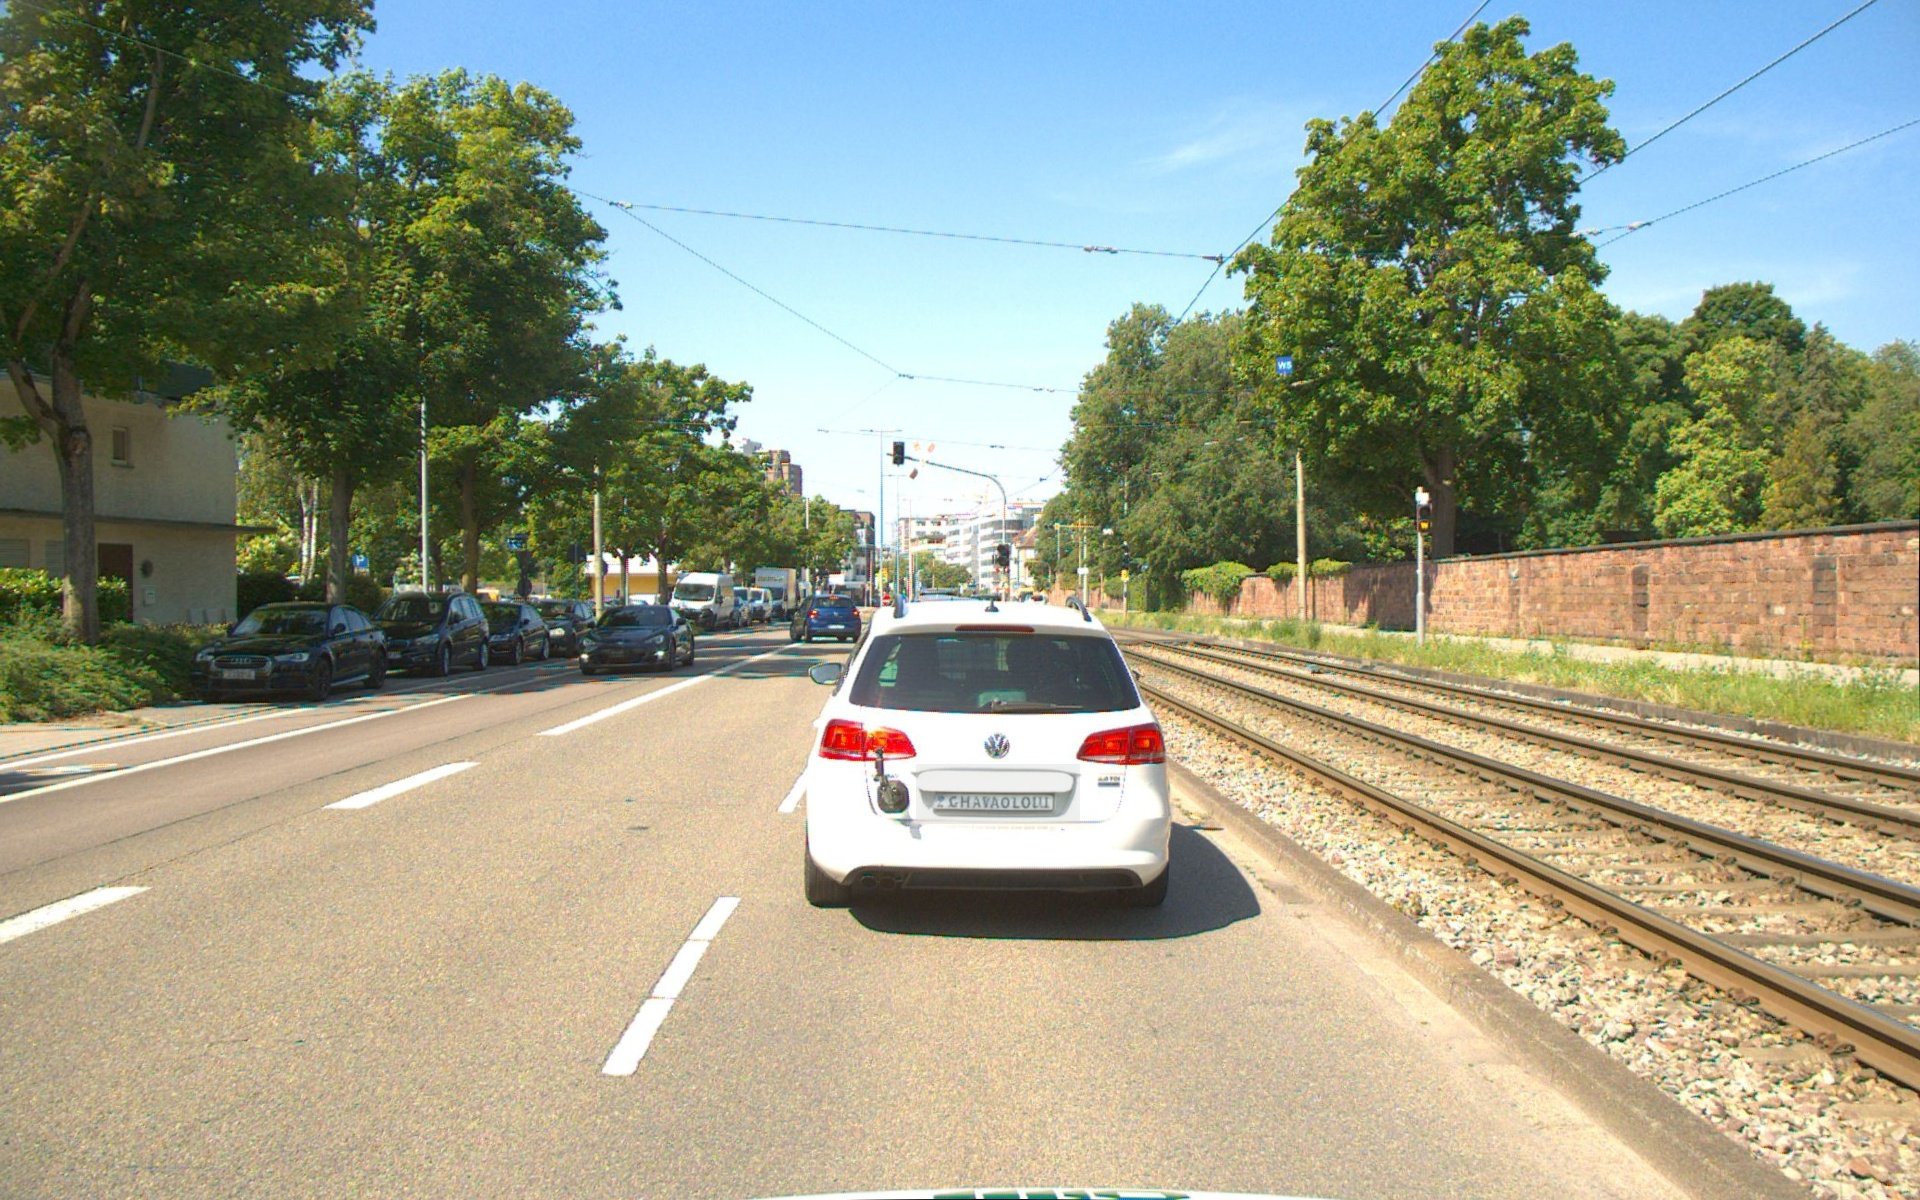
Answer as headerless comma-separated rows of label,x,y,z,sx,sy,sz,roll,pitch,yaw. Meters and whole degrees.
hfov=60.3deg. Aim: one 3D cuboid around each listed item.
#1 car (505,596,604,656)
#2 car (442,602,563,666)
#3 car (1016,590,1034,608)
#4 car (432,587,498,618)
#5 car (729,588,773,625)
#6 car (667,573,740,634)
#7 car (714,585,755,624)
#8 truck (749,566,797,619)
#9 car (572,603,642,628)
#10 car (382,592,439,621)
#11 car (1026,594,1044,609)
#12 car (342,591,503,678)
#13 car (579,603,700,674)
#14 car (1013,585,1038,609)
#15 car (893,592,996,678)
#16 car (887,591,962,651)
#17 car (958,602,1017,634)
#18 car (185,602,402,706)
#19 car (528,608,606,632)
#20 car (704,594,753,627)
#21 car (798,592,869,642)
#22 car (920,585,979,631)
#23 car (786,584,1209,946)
car,-10.766,0.667,44.200,1.608,1.476,4.004,1,0,0
car,-10.875,0.778,39.647,1.656,1.404,4.781,-1,0,-1
car,6.960,-0.055,176.577,1.657,1.844,3.453,1,-1,-1
car,-35.313,0.175,118.100,4.175,2.049,1.997,2,-1,-7
car,-11.763,0.338,93.346,1.806,1.995,5.133,-1,0,0
car,-11.462,0.151,74.245,2.016,2.544,6.308,2,0,2
car,-11.920,0.232,87.655,1.807,1.971,5.189,-1,0,-4
truck,-11.552,-0.458,102.414,2.308,3.177,6.889,-1,0,-2
car,-21.944,0.955,102.914,3.904,1.469,1.772,-1,0,2
car,-37.569,0.457,113.039,3.354,1.909,1.552,-1,0,-3
car,7.333,0.139,162.445,1.549,1.370,3.453,1,-1,-1
car,-10.753,0.645,33.471,1.726,1.634,4.893,0,0,-1
car,-6.241,0.717,32.615,1.653,1.266,4.063,-1,0,-1
car,7.268,-0.358,185.166,2.413,2.542,5.908,1,-1,-1
car,-0.292,0.586,29.687,1.710,1.412,3.912,1,0,-1
car,-0.909,0.515,43.075,1.823,1.441,4.324,1,0,-1
car,1.334,0.834,78.217,1.709,1.432,3.915,1,0,17
car,-10.587,0.790,26.671,1.803,1.491,4.906,-1,0,-4
car,-22.095,1.121,93.108,3.904,1.246,1.772,-1,0,2
car,-11.222,0.488,80.363,1.806,1.543,4.196,-1,0,-1
car,-3.929,0.508,51.017,1.715,1.432,3.902,2,0,-11
car,-0.339,0.258,58.953,1.822,1.539,3.915,1,0,3
car,0.110,0.686,8.847,1.732,1.471,3.912,1,0,-2
